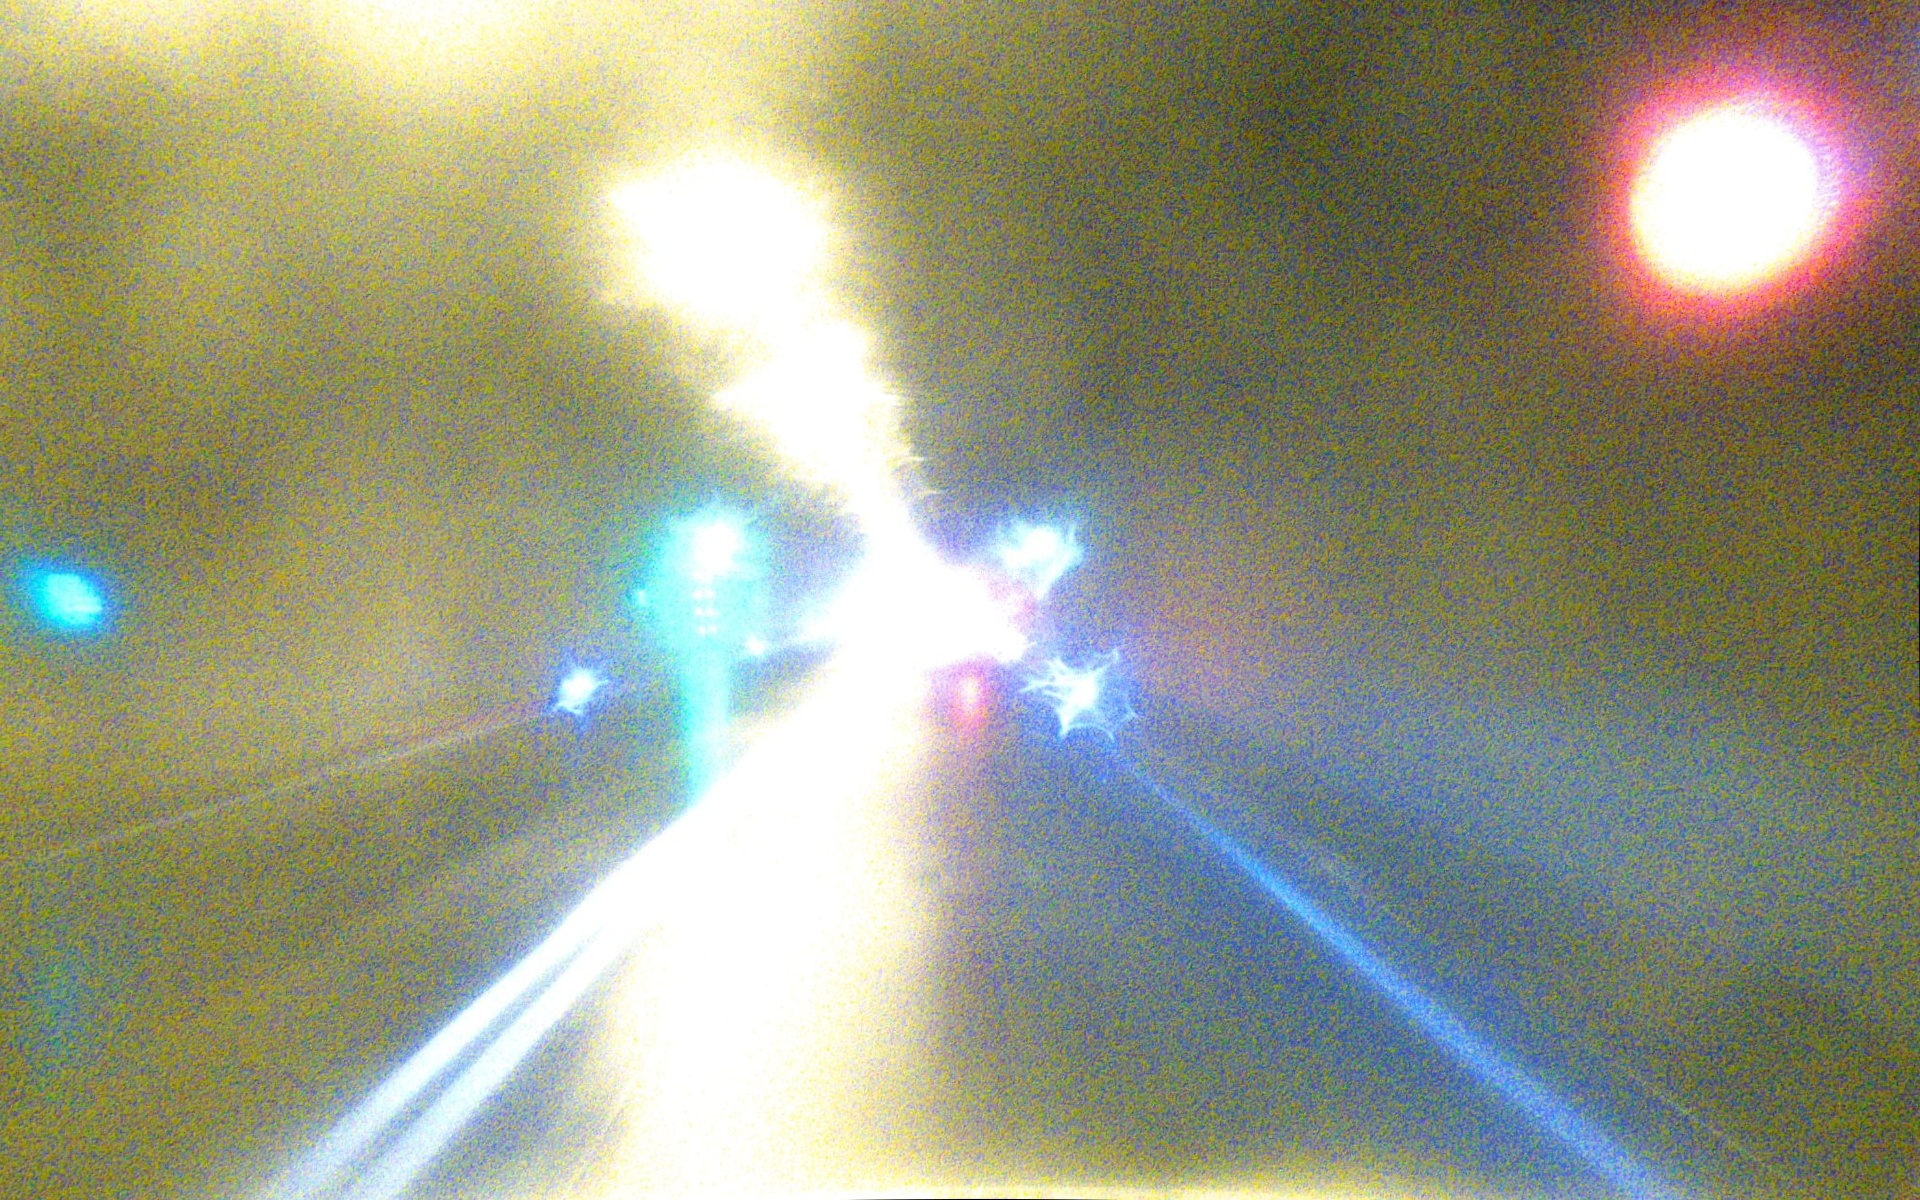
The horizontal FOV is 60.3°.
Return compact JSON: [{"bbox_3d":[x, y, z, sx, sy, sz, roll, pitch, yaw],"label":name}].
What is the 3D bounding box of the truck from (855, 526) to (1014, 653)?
[{"bbox_3d":[-0.605,-0.230,40.701,3.463,2.740,8.954,-1,0,-1],"label":"truck"}]
